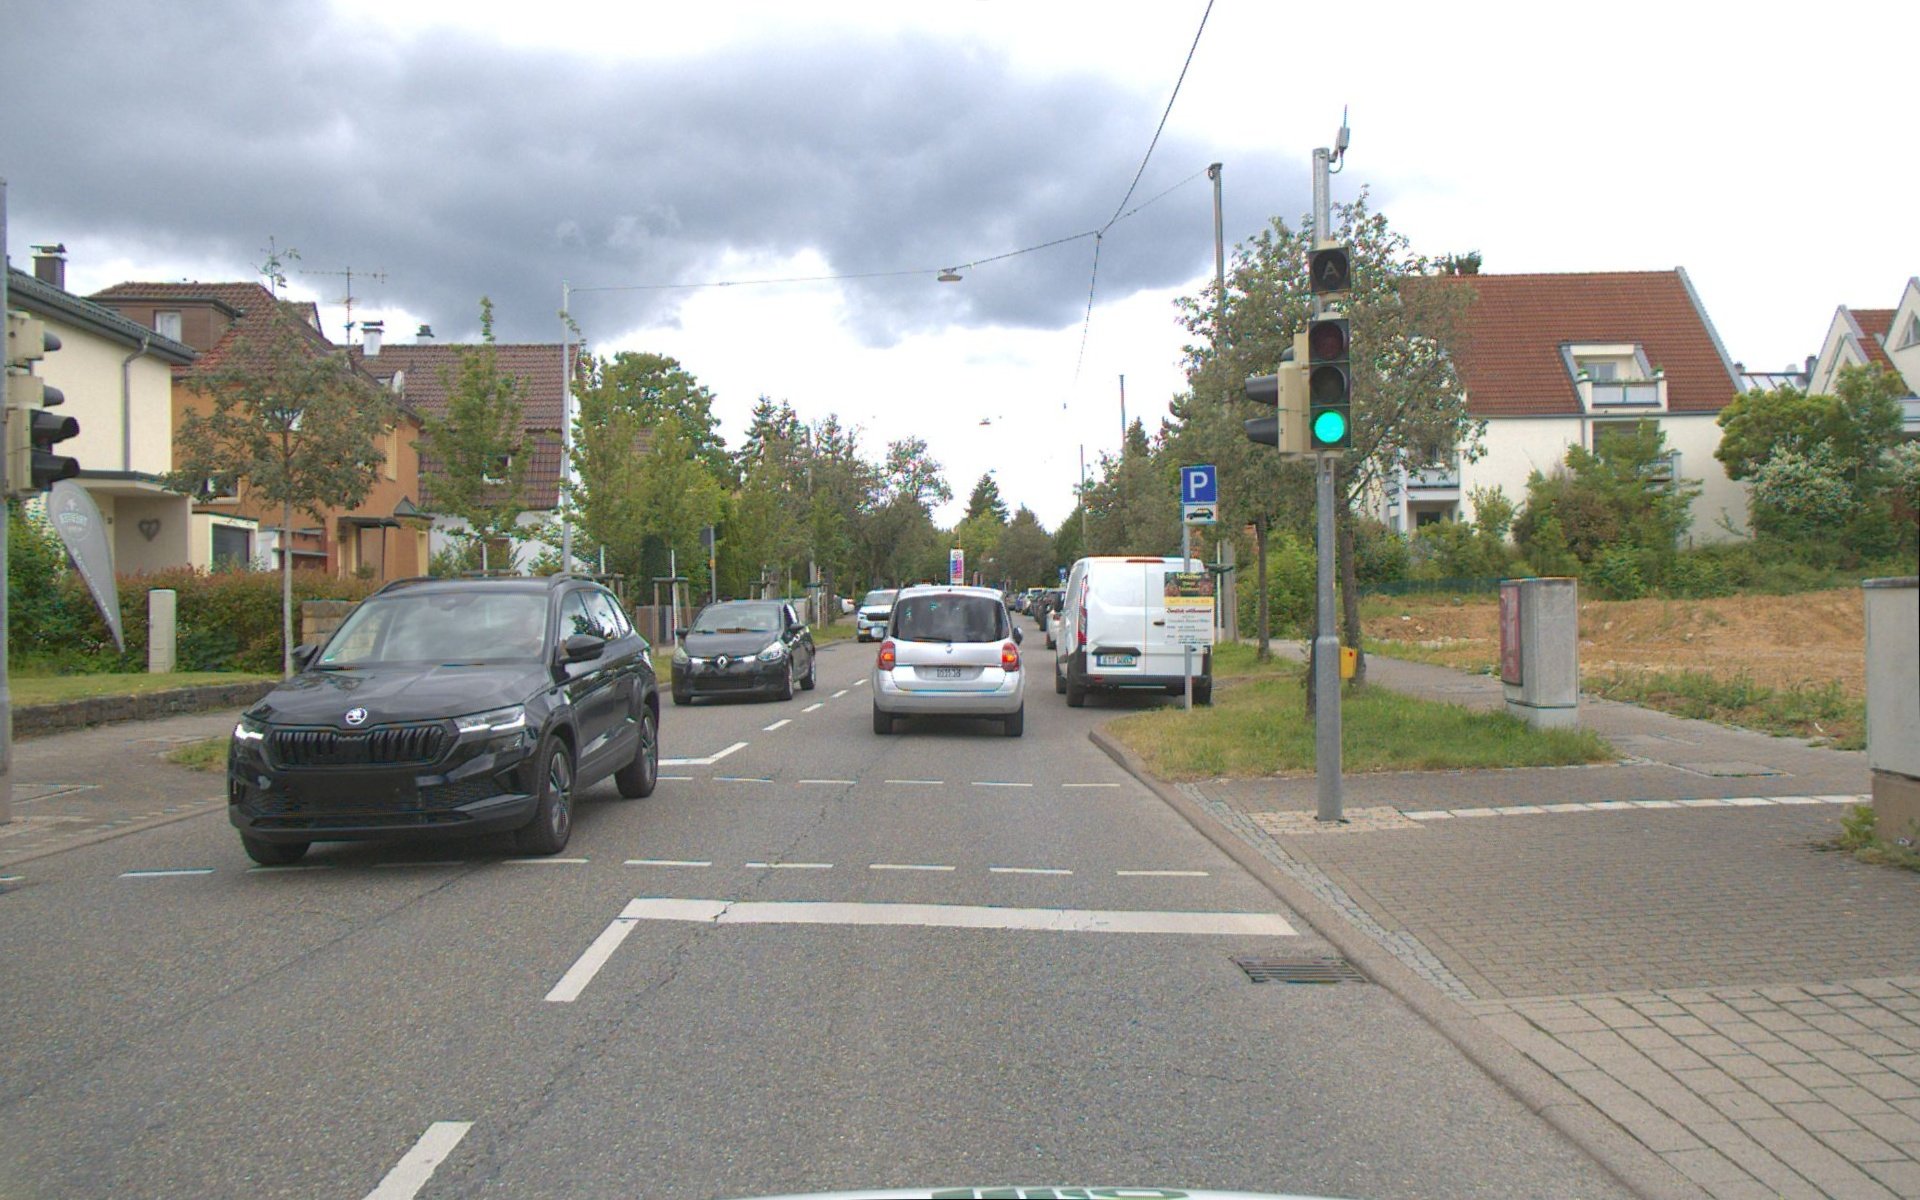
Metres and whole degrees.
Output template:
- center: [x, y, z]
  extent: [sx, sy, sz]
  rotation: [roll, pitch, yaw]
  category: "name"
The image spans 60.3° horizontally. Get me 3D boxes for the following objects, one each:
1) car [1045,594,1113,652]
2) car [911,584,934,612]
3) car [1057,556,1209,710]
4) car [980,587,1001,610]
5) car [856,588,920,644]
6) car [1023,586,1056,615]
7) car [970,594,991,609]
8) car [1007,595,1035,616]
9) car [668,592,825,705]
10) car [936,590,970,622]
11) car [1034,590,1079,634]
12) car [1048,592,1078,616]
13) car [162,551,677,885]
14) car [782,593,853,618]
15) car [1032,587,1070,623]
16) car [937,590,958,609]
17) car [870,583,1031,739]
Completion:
- center: [3.183, 0.587, 44.758]
  extent: [1.658, 1.479, 4.405]
  rotation: [1, 0, 2]
  category: "car"
- center: [-3.788, -0.198, 168.401]
  extent: [2.031, 2.627, 5.300]
  rotation: [-3, 0, 1]
  category: "car"
- center: [2.365, 0.420, 23.674]
  extent: [1.738, 1.977, 4.789]
  rotation: [0, 0, 1]
  category: "car"
- center: [3.985, -0.206, 213.992]
  extent: [2.236, 2.962, 5.275]
  rotation: [1, 0, -4]
  category: "car"
- center: [-2.341, 0.511, 54.707]
  extent: [1.776, 1.722, 4.466]
  rotation: [-2, 0, 1]
  category: "car"
- center: [5.123, 0.018, 106.920]
  extent: [1.763, 1.809, 4.703]
  rotation: [1, 0, -2]
  category: "car"
- center: [2.031, 0.183, 168.828]
  extent: [1.663, 1.532, 3.967]
  rotation: [-1, 0, -6]
  category: "car"
- center: [4.459, 0.428, 121.828]
  extent: [1.595, 1.477, 3.872]
  rotation: [-2, 0, -4]
  category: "car"
- center: [-3.119, 0.672, 24.878]
  extent: [1.582, 1.497, 4.002]
  rotation: [-2, 0, 3]
  category: "car"
- center: [-0.388, 0.340, 96.026]
  extent: [1.758, 1.782, 4.300]
  rotation: [-2, 0, 2]
  category: "car"
- center: [3.734, 0.449, 64.629]
  extent: [1.653, 1.637, 4.110]
  rotation: [0, 0, 2]
  category: "car"
- center: [6.289, 0.243, 101.288]
  extent: [1.527, 1.468, 3.505]
  rotation: [0, 0, -2]
  category: "car"
- center: [-3.159, 0.606, 10.617]
  extent: [1.856, 1.652, 4.001]
  rotation: [-3, 0, 1]
  category: "car"
- center: [-8.585, 0.342, 99.816]
  extent: [4.195, 1.392, 1.814]
  rotation: [1, -1, -5]
  category: "car"
- center: [4.548, 0.255, 83.069]
  extent: [1.792, 1.742, 4.550]
  rotation: [-1, 0, 2]
  category: "car"
- center: [-1.226, -0.057, 156.395]
  extent: [1.798, 1.743, 3.998]
  rotation: [-2, 0, -2]
  category: "car"
- center: [-0.040, 0.621, 18.825]
  extent: [1.644, 1.587, 3.512]
  rotation: [1, 0, 2]
  category: "car"
